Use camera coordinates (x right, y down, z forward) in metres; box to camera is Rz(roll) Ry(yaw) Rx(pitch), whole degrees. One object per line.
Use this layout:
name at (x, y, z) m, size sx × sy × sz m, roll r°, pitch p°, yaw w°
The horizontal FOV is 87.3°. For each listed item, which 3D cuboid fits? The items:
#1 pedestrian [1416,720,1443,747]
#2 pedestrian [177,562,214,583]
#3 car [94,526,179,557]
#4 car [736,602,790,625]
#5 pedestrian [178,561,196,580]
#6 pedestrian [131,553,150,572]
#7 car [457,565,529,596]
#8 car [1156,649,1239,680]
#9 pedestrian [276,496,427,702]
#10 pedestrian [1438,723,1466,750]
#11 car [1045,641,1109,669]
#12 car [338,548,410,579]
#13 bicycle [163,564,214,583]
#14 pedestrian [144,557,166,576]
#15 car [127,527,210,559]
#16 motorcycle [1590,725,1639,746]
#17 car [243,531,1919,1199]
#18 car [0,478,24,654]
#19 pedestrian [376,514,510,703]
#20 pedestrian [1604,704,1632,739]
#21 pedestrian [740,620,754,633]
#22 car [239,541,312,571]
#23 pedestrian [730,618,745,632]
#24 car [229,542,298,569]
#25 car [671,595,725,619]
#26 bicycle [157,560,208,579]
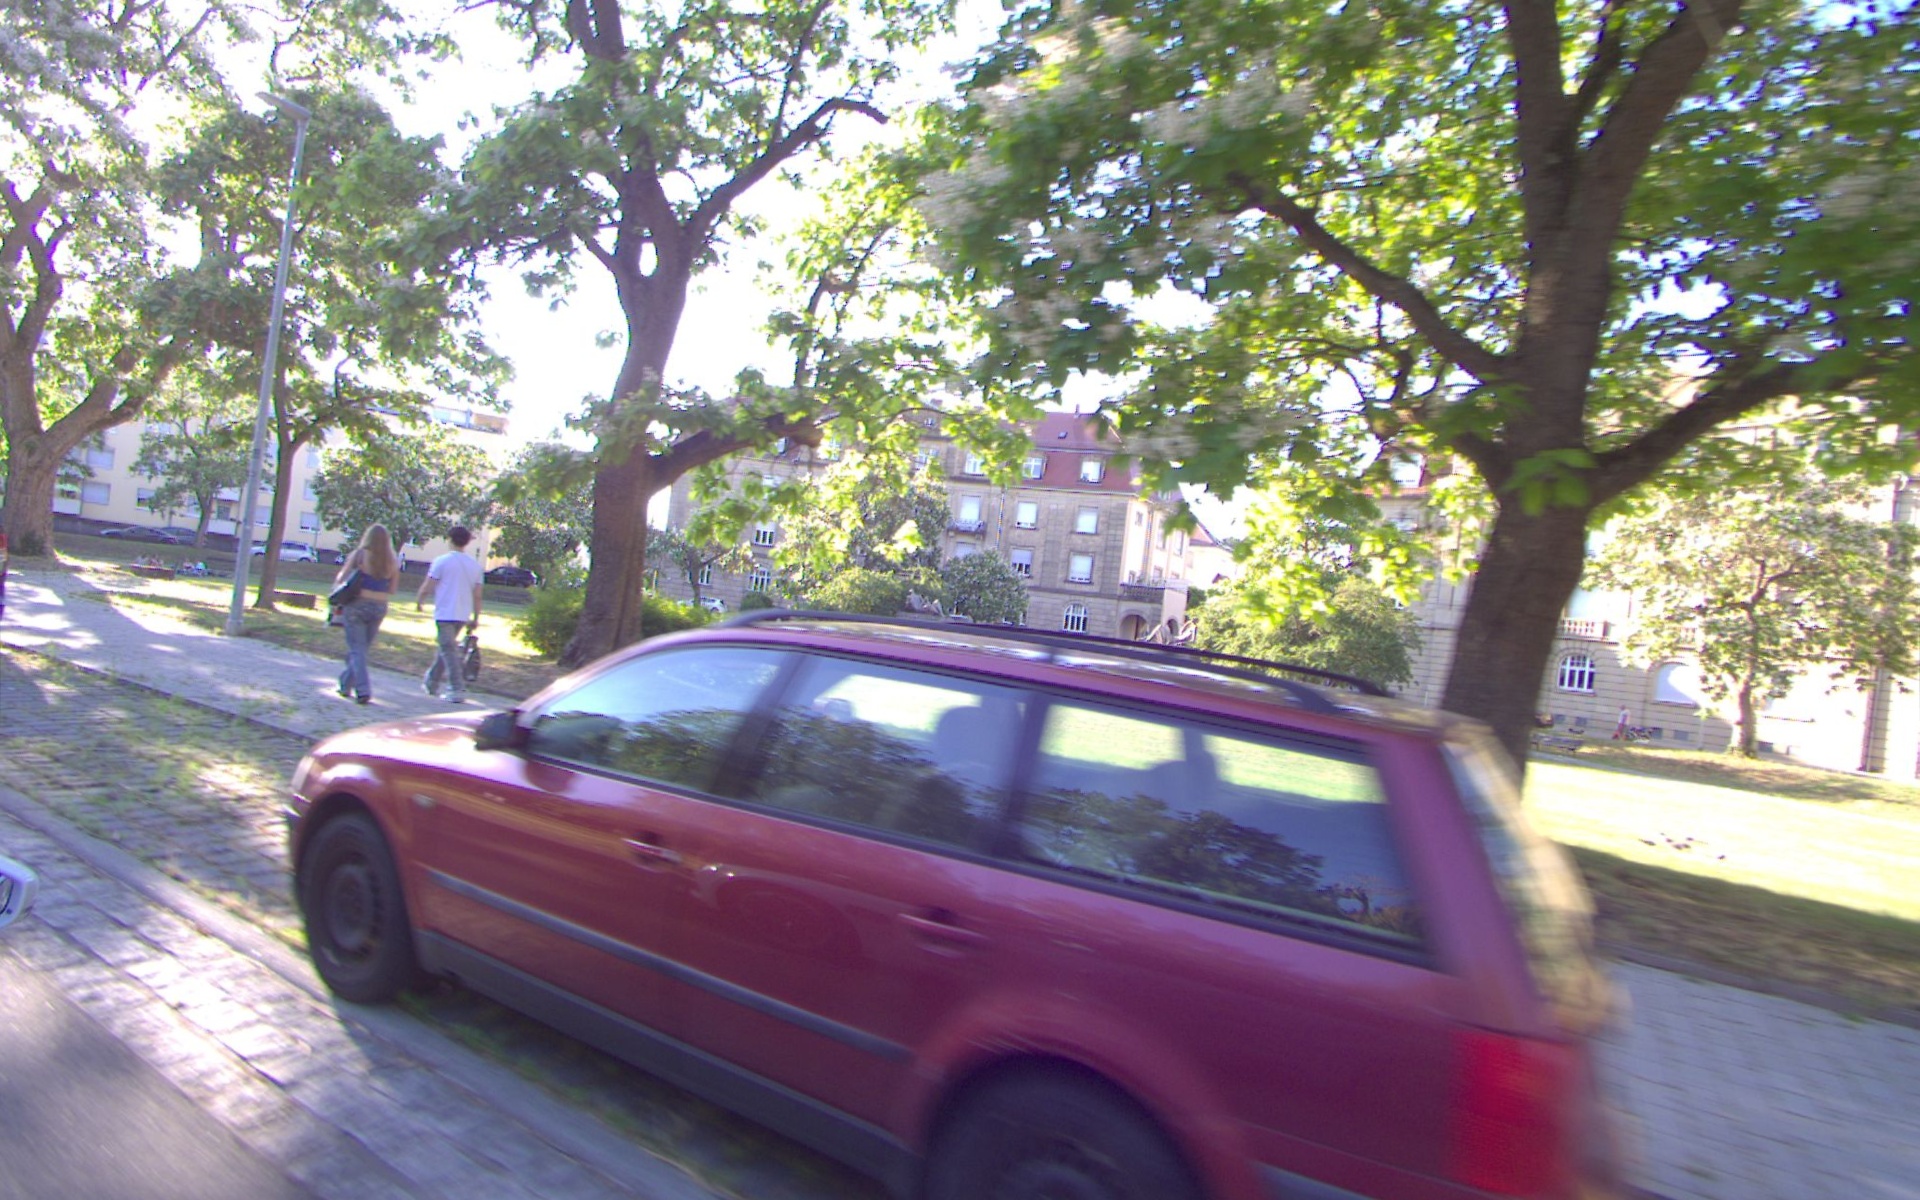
pedestrian at (17.939, 5.112, 38.440) m, size 0.570 × 0.891 × 0.674 m, roll 8°, pitch -2°, yaw -20°
pedestrian at (-38.026, -1.375, 50.062) m, size 1.239 × 0.822 × 0.573 m, roll 8°, pitch -2°, yaw -13°
car at (-53.637, -3.799, 65.622) m, size 4.175 × 1.373 × 1.676 m, roll 8°, pitch -2°, yaw -38°
car at (-16.455, 1.147, 83.994) m, size 3.924 × 1.470 × 1.882 m, roll 6°, pitch -1°, yaw 6°
pedestrian at (-38.861, -1.485, 50.559) m, size 0.602 × 0.822 × 0.473 m, roll 6°, pitch -2°, yaw 33°
pedestrian at (-39.996, -1.830, 49.077) m, size 0.602 × 0.822 × 0.473 m, roll 6°, pitch -2°, yaw 33°
car at (-34.872, -1.450, 75.293) m, size 4.455 × 1.766 × 1.876 m, roll 7°, pitch -1°, yaw -15°
car at (15.509, 4.214, 65.802) m, size 4.878 × 1.434 × 1.813 m, roll 5°, pitch -2°, yaw 39°
pedestrian at (-5.570, 0.001, 9.222) m, size 0.720 × 1.756 × 0.754 m, roll 7°, pitch -1°, yaw 32°
pedestrian at (18.741, 5.199, 38.303) m, size 0.570 × 0.891 × 0.674 m, roll 8°, pitch -2°, yaw -20°
car at (8.357, 3.915, 71.806) m, size 4.029 × 1.434 × 1.816 m, roll 6°, pitch -1°, yaw 33°
car at (-45.218, -2.803, 77.689) m, size 4.467 × 1.766 × 1.871 m, roll 7°, pitch -1°, yaw -24°
bicycle at (-36.456, -1.258, 47.571) m, size 1.755 × 0.622 × 1.796 m, roll 8°, pitch -2°, yaw -34°
pedestrian at (-40.264, -1.694, 50.318) m, size 0.712 × 0.822 × 0.612 m, roll 6°, pitch -2°, yaw 33°
car at (-56.140, -4.029, 71.399) m, size 4.492 × 1.588 × 1.860 m, roll 8°, pitch -2°, yaw -40°
motorcycle at (30.053, 6.198, 46.199) m, size 1.830 × 0.678 × 0.681 m, roll 5°, pitch -1°, yaw 34°
car at (-0.119, 0.760, 3.174) m, size 4.730 × 1.504 × 1.681 m, roll 6°, pitch -1°, yaw 32°
car at (-11.915, -0.582, 10.660) m, size 4.439 × 1.760 × 1.681 m, roll 6°, pitch -1°, yaw 32°
pedestrian at (-5.151, 0.095, 10.041) m, size 0.720 × 1.756 × 0.726 m, roll 7°, pitch -1°, yaw 32°
pedestrian at (30.180, 5.560, 46.162) m, size 0.935 × 1.493 × 0.681 m, roll 6°, pitch -1°, yaw 34°
pedestrian at (-14.211, 1.780, 67.104) m, size 0.655 × 0.803 × 0.587 m, roll 6°, pitch -1°, yaw 21°
car at (-47.415, -3.033, 69.738) m, size 3.958 × 1.570 × 1.598 m, roll 8°, pitch -1°, yaw -31°
pedestrian at (-14.909, 1.689, 67.455) m, size 0.655 × 0.803 × 0.587 m, roll 6°, pitch -1°, yaw 21°
car at (-51.364, -3.274, 74.265) m, size 3.957 × 1.470 × 1.867 m, roll 8°, pitch -2°, yaw -30°
car at (-21.830, 0.608, 83.956) m, size 3.925 × 1.470 × 1.881 m, roll 7°, pitch -1°, yaw 1°
bicycle at (-37.149, -1.448, 48.090) m, size 1.755 × 0.622 × 1.796 m, roll 8°, pitch -2°, yaw -34°
